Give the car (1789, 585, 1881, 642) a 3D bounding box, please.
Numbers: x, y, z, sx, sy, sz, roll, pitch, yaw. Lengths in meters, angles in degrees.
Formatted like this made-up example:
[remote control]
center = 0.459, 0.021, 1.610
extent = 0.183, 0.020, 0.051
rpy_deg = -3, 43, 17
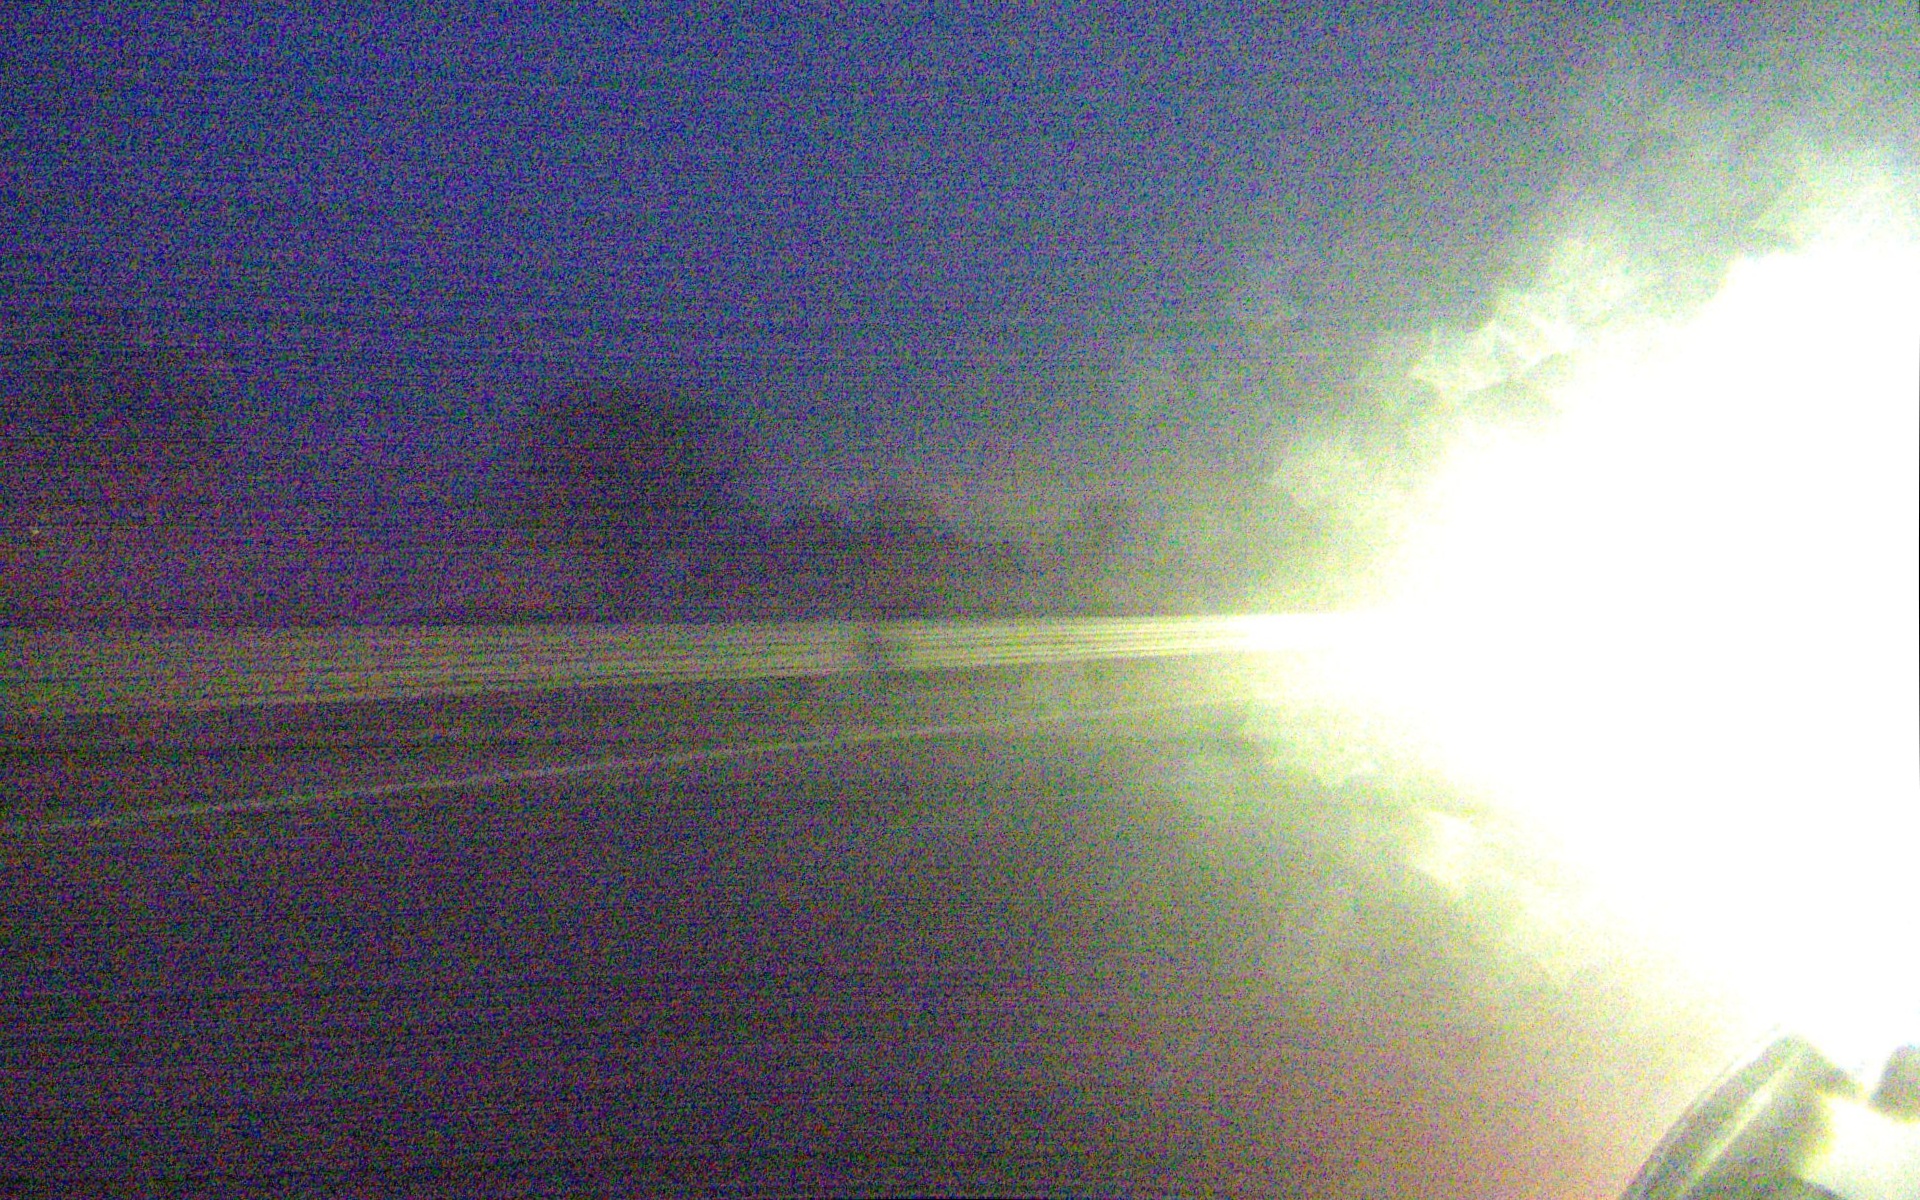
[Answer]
[car]
center = 30.839, 0.479, 35.641
extent = 4.616, 1.870, 1.830
rpy_deg = 1, -1, -41
